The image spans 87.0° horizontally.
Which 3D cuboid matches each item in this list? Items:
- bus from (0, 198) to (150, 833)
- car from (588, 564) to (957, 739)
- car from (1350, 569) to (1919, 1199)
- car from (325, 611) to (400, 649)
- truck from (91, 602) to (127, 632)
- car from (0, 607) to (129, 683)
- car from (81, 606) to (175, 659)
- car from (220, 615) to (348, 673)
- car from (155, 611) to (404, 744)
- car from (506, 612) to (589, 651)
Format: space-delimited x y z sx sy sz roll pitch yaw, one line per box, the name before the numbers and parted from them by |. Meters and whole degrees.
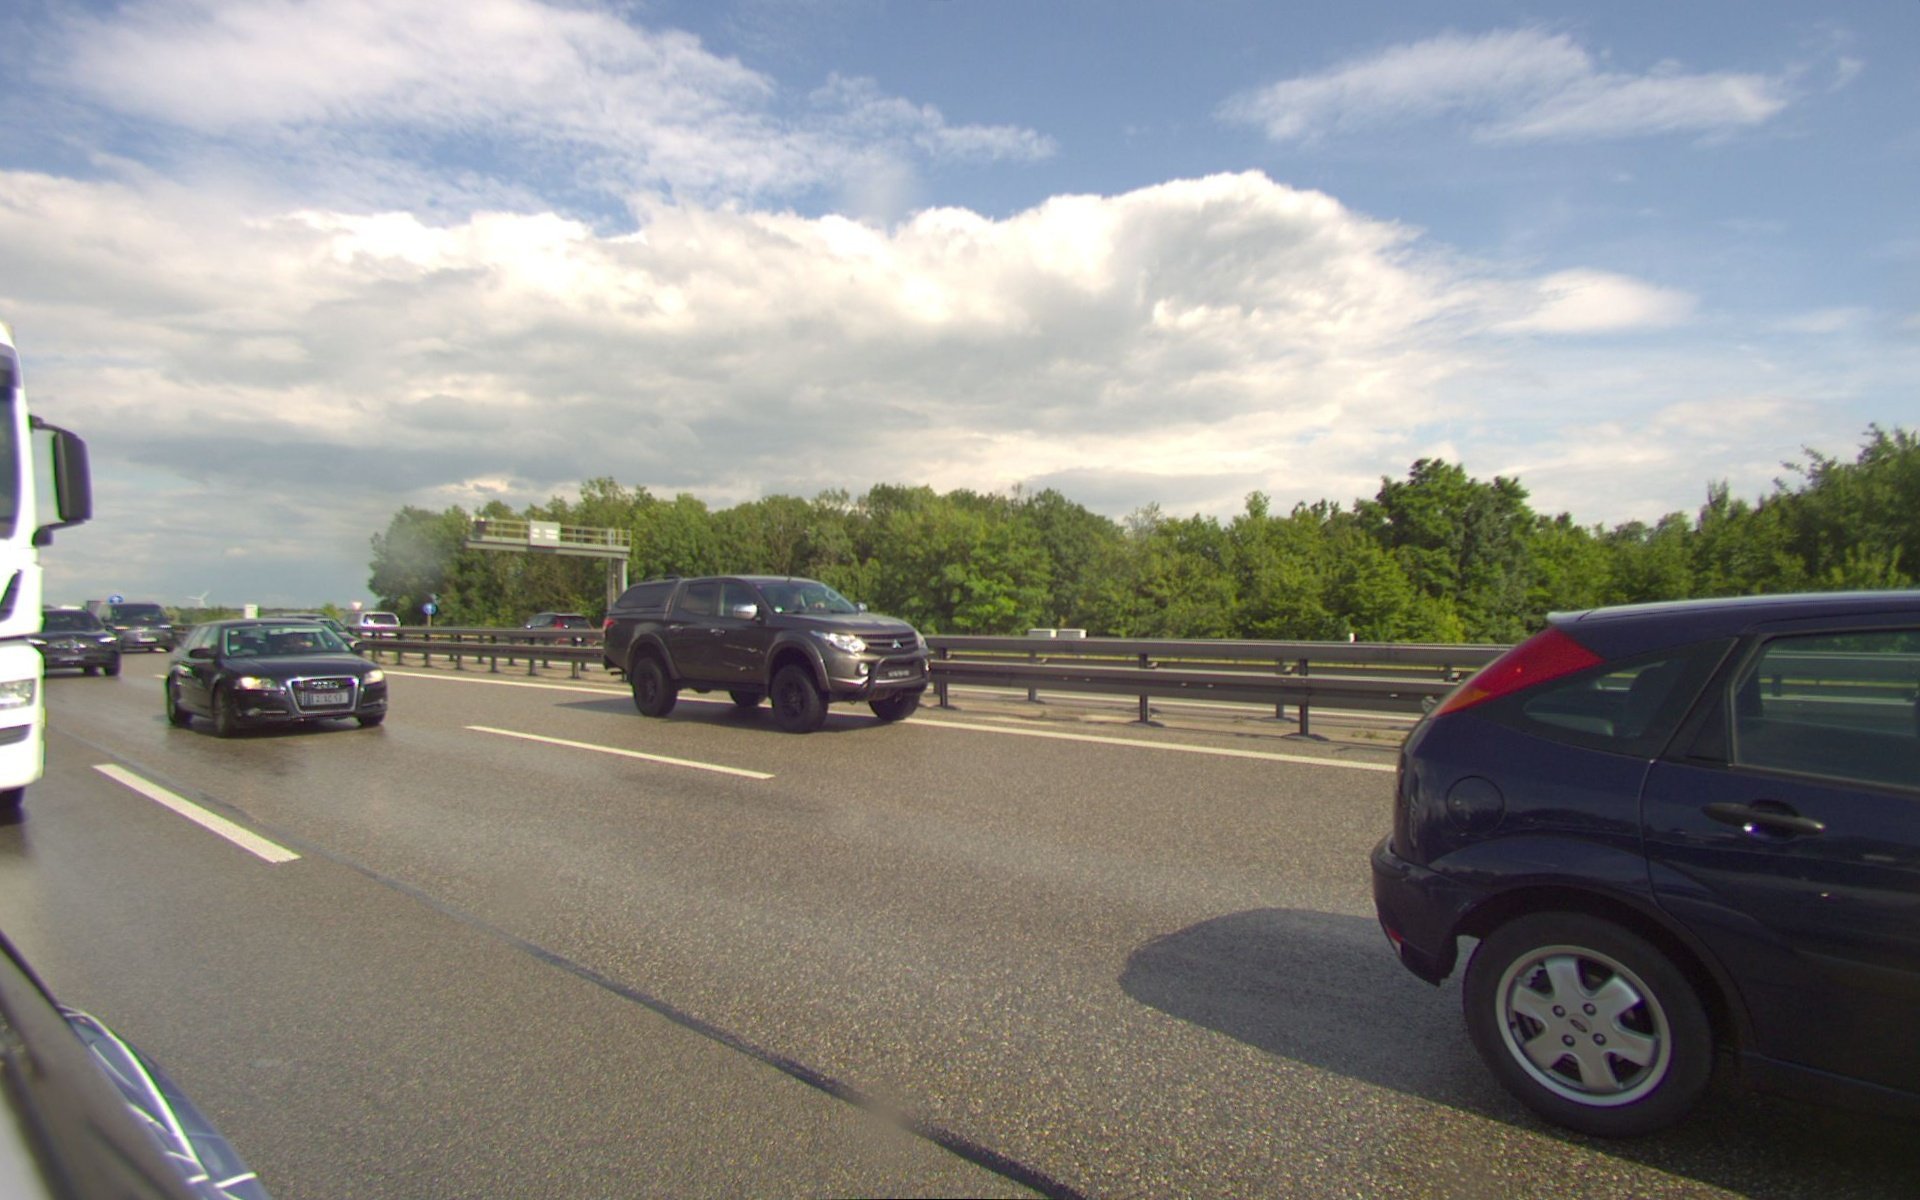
bus | -10.404 -0.474 9.355 9.840 4.159 2.867 -1 0 41
car | -2.658 0.581 13.216 5.416 1.858 1.787 -1 -1 42
car | 3.258 0.643 2.399 3.999 1.454 1.740 -1 -1 42
car | -25.179 1.248 42.635 3.702 1.497 1.659 -1 -1 41
truck | -114.804 2.312 136.418 8.919 3.913 2.762 -1 -1 44
car | -22.177 1.053 24.905 4.622 1.692 1.857 -1 -1 40
car | -32.554 1.221 39.552 5.233 1.932 1.973 -1 -1 41
car | -18.479 1.139 27.606 4.371 1.435 1.900 -1 -1 42
car | -8.948 0.894 13.182 4.052 1.444 1.732 -1 -1 42
car | -16.402 1.237 40.176 3.634 1.444 1.731 -1 -1 43
